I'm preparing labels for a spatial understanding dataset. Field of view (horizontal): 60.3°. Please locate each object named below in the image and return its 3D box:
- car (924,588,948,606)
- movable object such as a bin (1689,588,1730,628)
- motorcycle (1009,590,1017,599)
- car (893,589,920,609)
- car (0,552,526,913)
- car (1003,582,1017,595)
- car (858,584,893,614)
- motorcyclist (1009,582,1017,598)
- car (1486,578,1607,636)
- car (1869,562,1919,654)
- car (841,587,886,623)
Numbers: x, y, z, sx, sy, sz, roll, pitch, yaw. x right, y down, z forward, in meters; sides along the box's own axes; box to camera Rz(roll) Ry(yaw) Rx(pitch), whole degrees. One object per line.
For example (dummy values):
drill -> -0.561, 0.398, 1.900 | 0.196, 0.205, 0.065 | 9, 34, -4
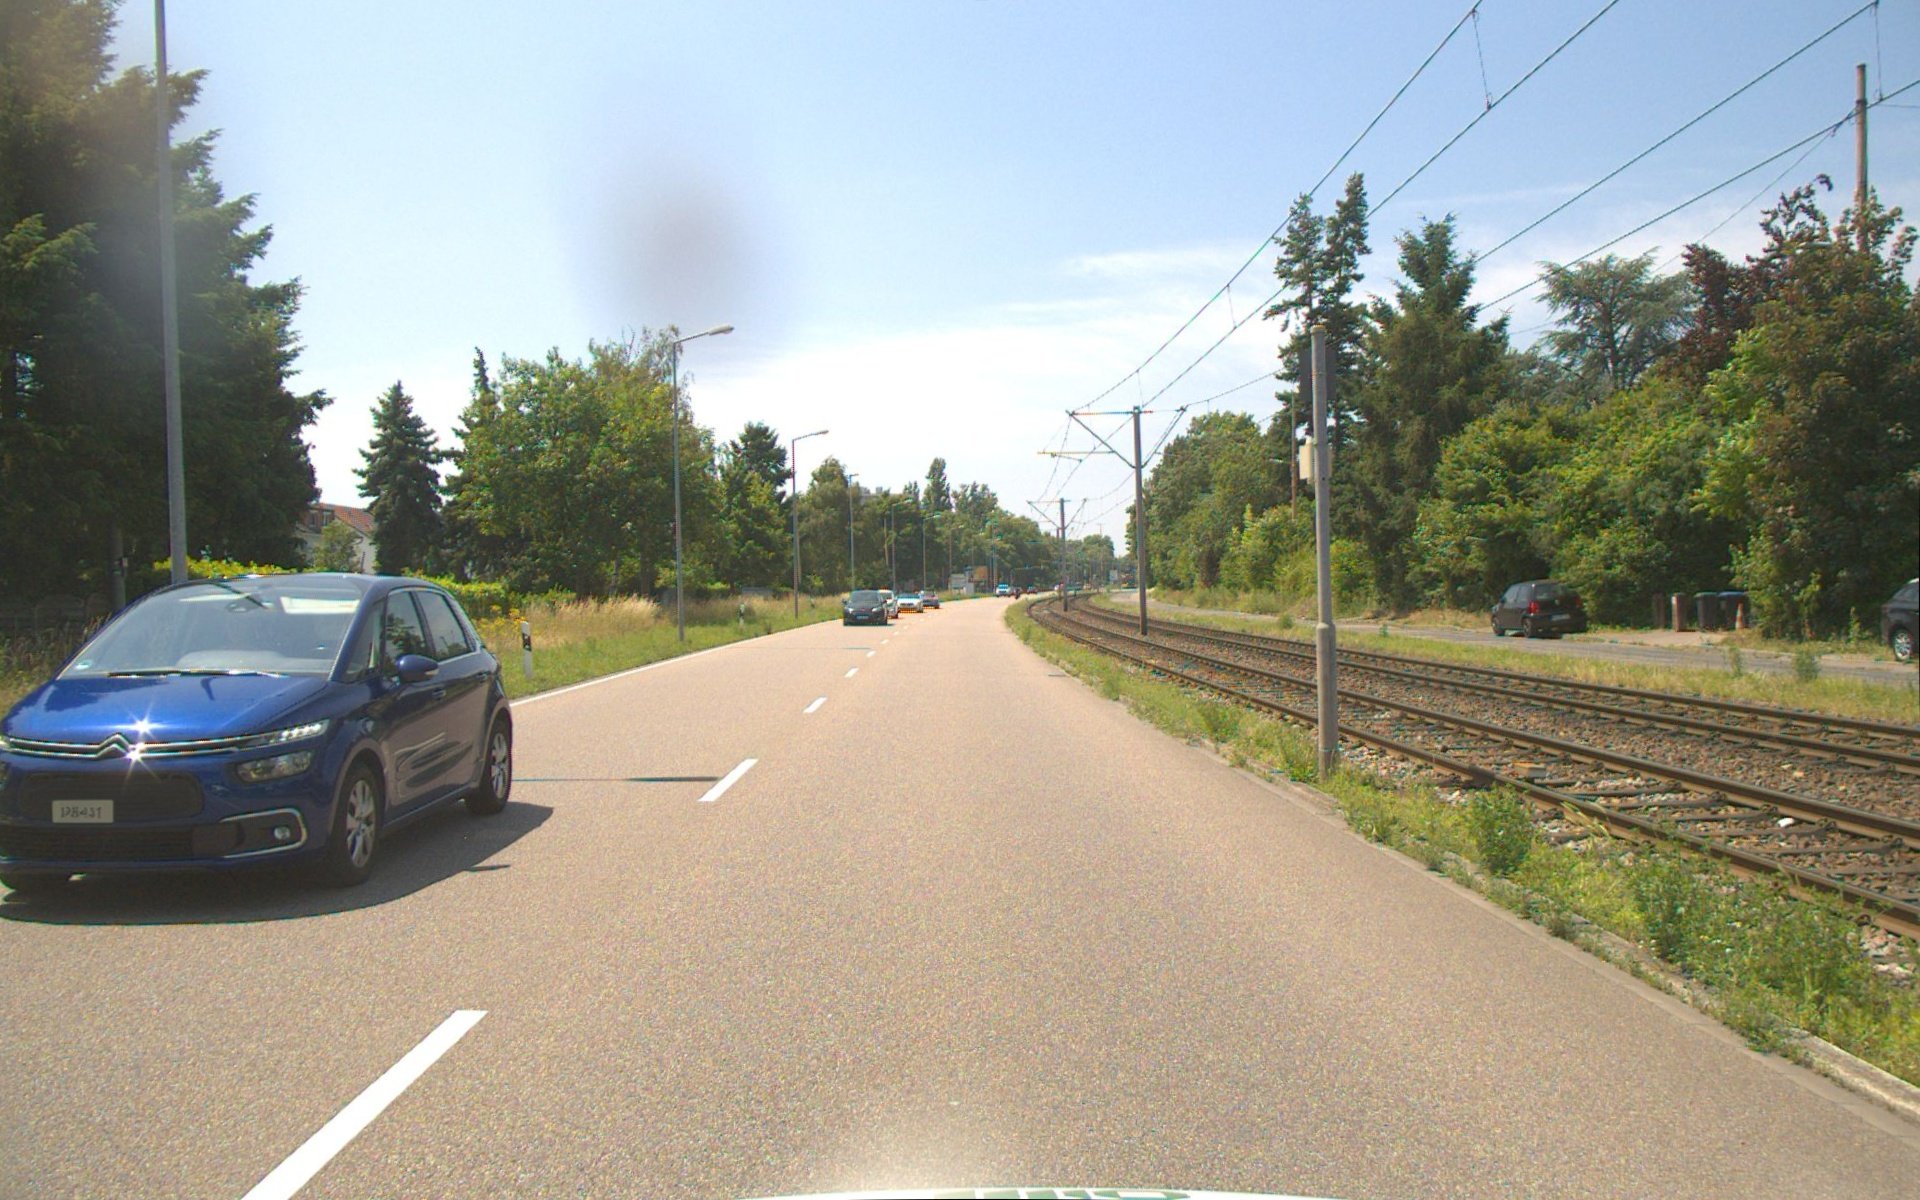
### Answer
car -> -1.838, -0.257, 127.416 | 1.713, 1.324, 4.253 | -1, 0, 0
movable object such as a bin -> 18.416, 0.189, 40.649 | 0.709, 0.953, 0.621 | -1, 0, -1
motorcycle -> 6.674, -0.701, 207.466 | 0.950, 1.137, 2.734 | -1, 0, 4
car -> -3.493, -0.041, 108.600 | 1.648, 1.271, 3.909 | -1, 0, 0
car -> -3.912, 0.612, 9.723 | 1.711, 1.660, 4.029 | -1, 0, -1
car -> 7.225, -1.635, 240.084 | 1.895, 1.827, 4.713 | -1, 0, 3
car -> -4.510, -0.062, 88.563 | 1.711, 1.529, 3.707 | -1, 0, 0
motorcyclist -> 6.645, -1.248, 207.255 | 0.873, 1.938, 1.016 | -1, 0, 4
car -> 16.031, 0.172, 45.376 | 1.875, 1.496, 4.000 | -1, 0, 0
car -> 17.502, 0.132, 27.702 | 1.896, 1.588, 4.554 | -1, 0, -3
car -> -4.137, 0.202, 71.478 | 1.666, 1.517, 4.440 | -1, 0, 0
